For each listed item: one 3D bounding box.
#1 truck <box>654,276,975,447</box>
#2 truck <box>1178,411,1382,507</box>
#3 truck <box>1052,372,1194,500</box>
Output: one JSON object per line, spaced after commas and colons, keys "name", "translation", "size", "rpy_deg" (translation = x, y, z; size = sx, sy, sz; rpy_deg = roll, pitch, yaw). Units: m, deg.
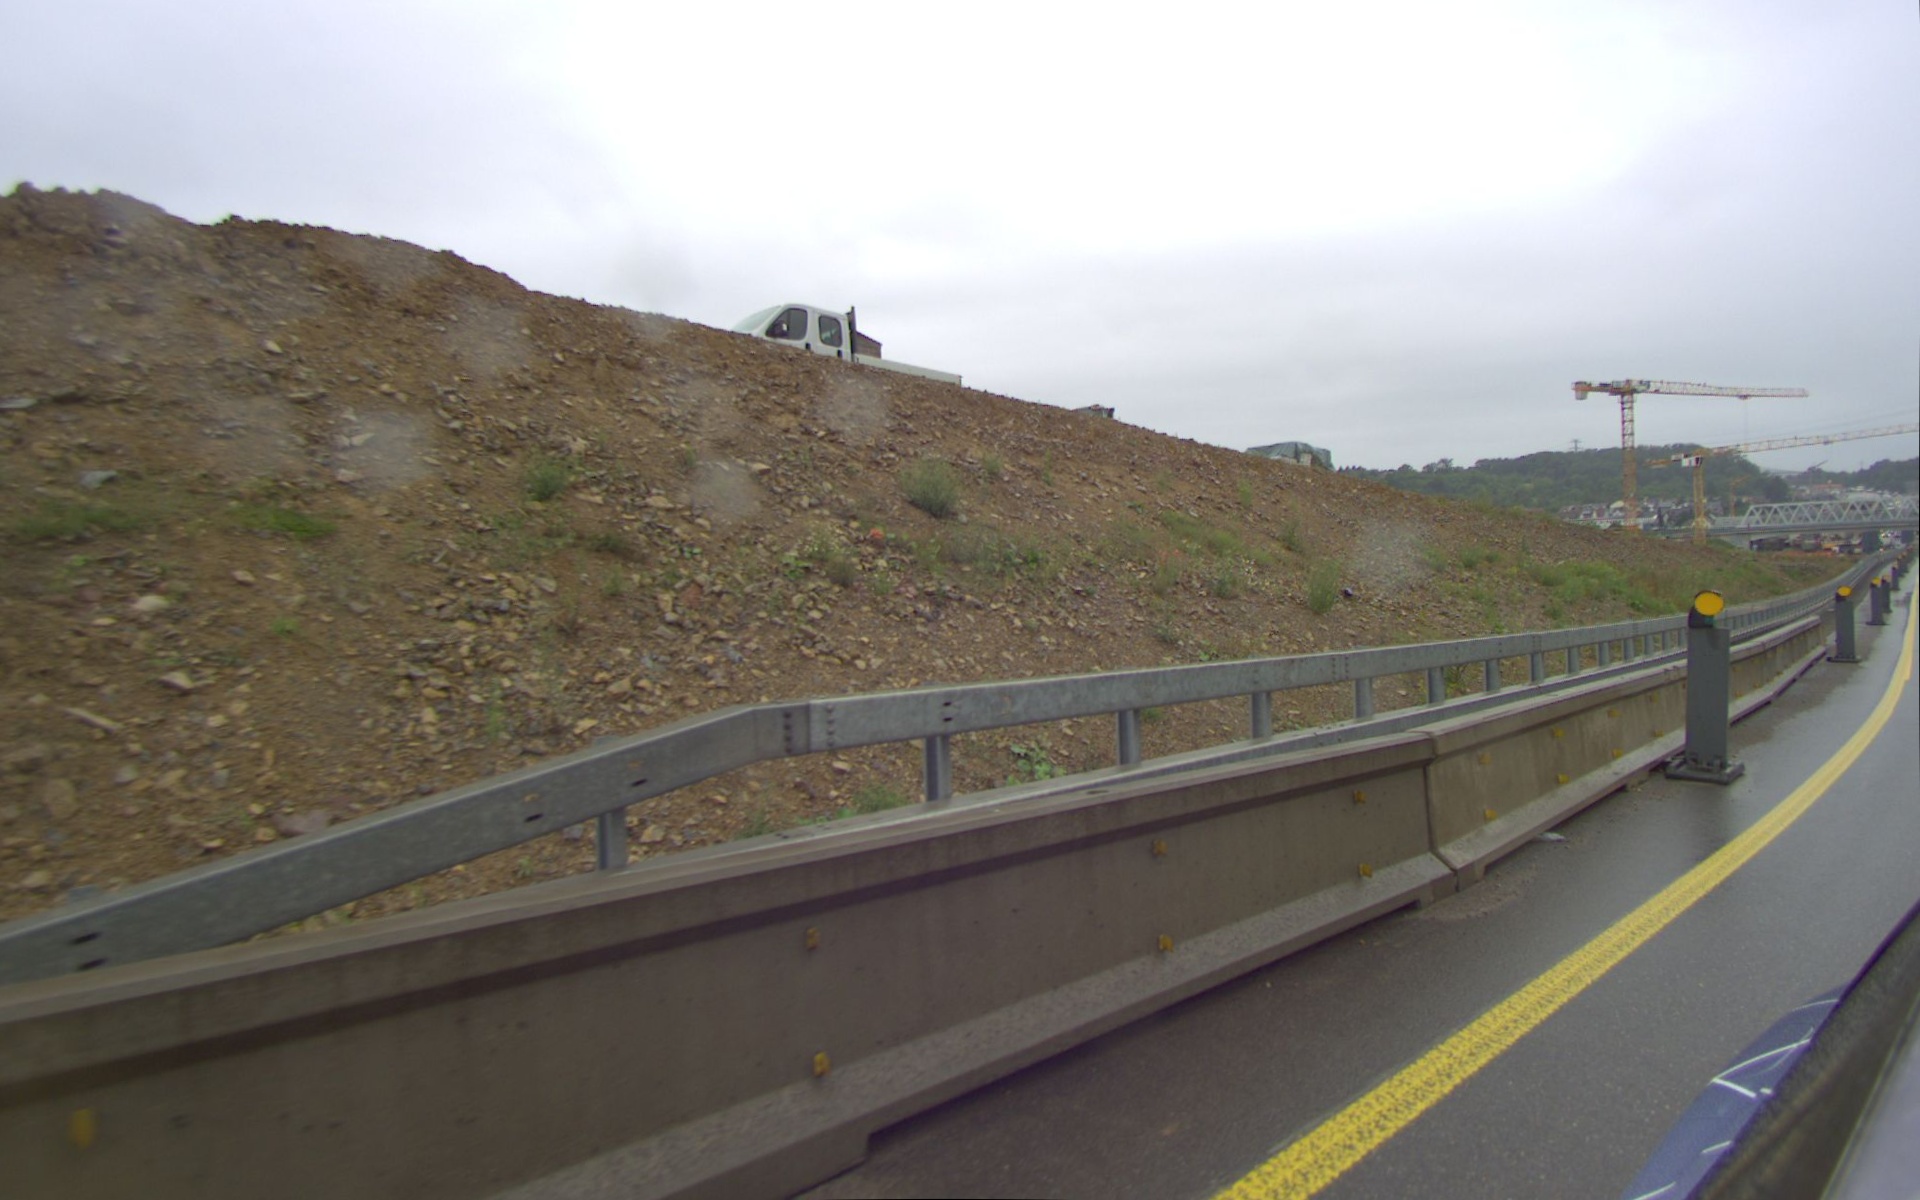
{"name": "truck", "translation": [-2.977, -5.017, 22.523], "size": [2.645, 2.585, 6.878], "rpy_deg": [1, 4, 44]}
{"name": "truck", "translation": [12.068, -5.030, 37.569], "size": [8.814, 2.909, 3.399], "rpy_deg": [-4, 4, -44]}
{"name": "truck", "translation": [6.305, -6.048, 38.488], "size": [2.373, 4.269, 5.888], "rpy_deg": [0, 3, 44]}
